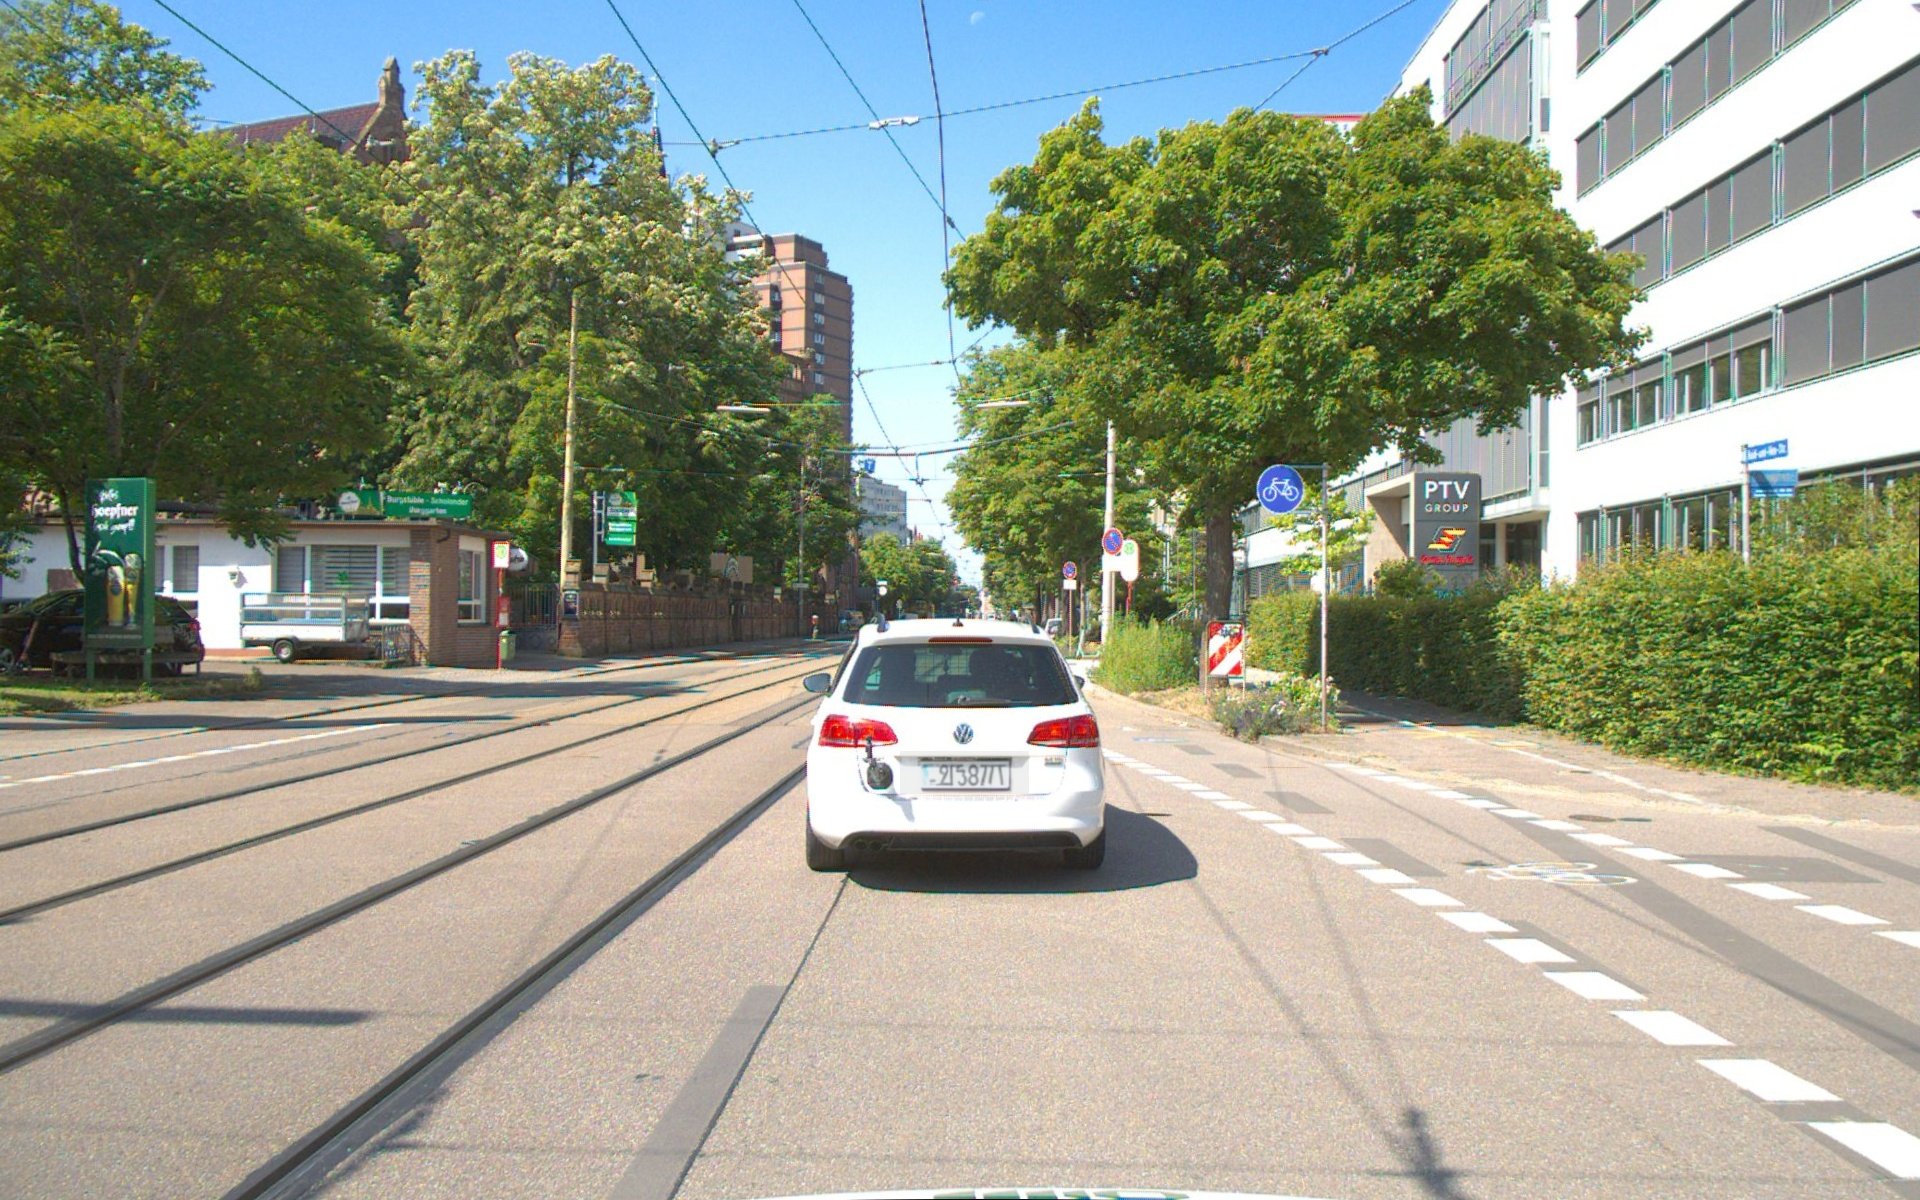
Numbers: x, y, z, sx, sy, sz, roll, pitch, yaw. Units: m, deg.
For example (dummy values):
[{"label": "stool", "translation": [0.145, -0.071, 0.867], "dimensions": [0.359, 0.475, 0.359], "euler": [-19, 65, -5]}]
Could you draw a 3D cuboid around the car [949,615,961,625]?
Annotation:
[{"label": "car", "translation": [-0.696, 2.788, 235.099], "dimensions": [1.462, 1.409, 3.643], "euler": [0, -1, 2]}]

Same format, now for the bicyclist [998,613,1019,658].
[{"label": "bicyclist", "translation": [1.794, 1.329, 61.716], "dimensions": [0.769, 1.658, 0.738], "euler": [0, -3, 1]}]

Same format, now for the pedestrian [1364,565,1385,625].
[{"label": "pedestrian", "translation": [12.335, -0.138, 49.193], "dimensions": [0.488, 1.758, 0.547], "euler": [1, -1, 1]}]

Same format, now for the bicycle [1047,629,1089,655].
[{"label": "bicycle", "translation": [4.665, 1.819, 71.552], "dimensions": [1.738, 1.102, 0.596], "euler": [0, -1, -1]}]

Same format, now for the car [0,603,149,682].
[{"label": "car", "translation": [-18.659, 0.819, 32.484], "dimensions": [4.544, 1.493, 1.917], "euler": [1, -1, -45]}]

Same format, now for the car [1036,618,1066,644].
[{"label": "car", "translation": [5.184, 1.759, 94.335], "dimensions": [1.630, 1.469, 4.634], "euler": [0, -1, 2]}]

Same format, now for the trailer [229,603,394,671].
[{"label": "trailer", "translation": [-15.306, 0.867, 39.139], "dimensions": [3.148, 1.552, 1.778], "euler": [1, -1, 2]}]

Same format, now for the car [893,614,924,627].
[{"label": "car", "translation": [-7.281, 2.956, 234.823], "dimensions": [3.952, 1.848, 1.976], "euler": [0, -1, -35]}]

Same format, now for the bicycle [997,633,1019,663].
[{"label": "bicycle", "translation": [1.782, 1.771, 61.574], "dimensions": [0.794, 1.097, 2.012], "euler": [1, -1, 2]}]

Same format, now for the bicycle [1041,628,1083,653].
[{"label": "bicycle", "translation": [4.797, 1.905, 77.758], "dimensions": [1.873, 1.102, 0.550], "euler": [3, -1, -1]}]

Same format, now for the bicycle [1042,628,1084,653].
[{"label": "bicycle", "translation": [4.804, 1.890, 77.145], "dimensions": [1.873, 1.102, 0.550], "euler": [3, -1, -1]}]

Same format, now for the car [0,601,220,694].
[{"label": "car", "translation": [-16.579, 0.868, 31.035], "dimensions": [4.544, 1.653, 1.917], "euler": [1, -1, -45]}]

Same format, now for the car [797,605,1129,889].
[{"label": "car", "translation": [0.000, 0.772, 10.788], "dimensions": [1.718, 1.467, 4.412], "euler": [0, 0, 0]}]

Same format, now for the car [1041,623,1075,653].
[{"label": "car", "translation": [4.861, 1.870, 82.370], "dimensions": [1.557, 1.476, 3.946], "euler": [0, -1, 2]}]

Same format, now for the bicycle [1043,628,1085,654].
[{"label": "bicycle", "translation": [4.831, 1.888, 76.545], "dimensions": [1.873, 1.102, 0.550], "euler": [2, -1, -1]}]

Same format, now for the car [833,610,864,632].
[{"label": "car", "translation": [-9.406, 1.759, 139.770], "dimensions": [1.952, 1.788, 4.713], "euler": [0, -1, 4]}]
